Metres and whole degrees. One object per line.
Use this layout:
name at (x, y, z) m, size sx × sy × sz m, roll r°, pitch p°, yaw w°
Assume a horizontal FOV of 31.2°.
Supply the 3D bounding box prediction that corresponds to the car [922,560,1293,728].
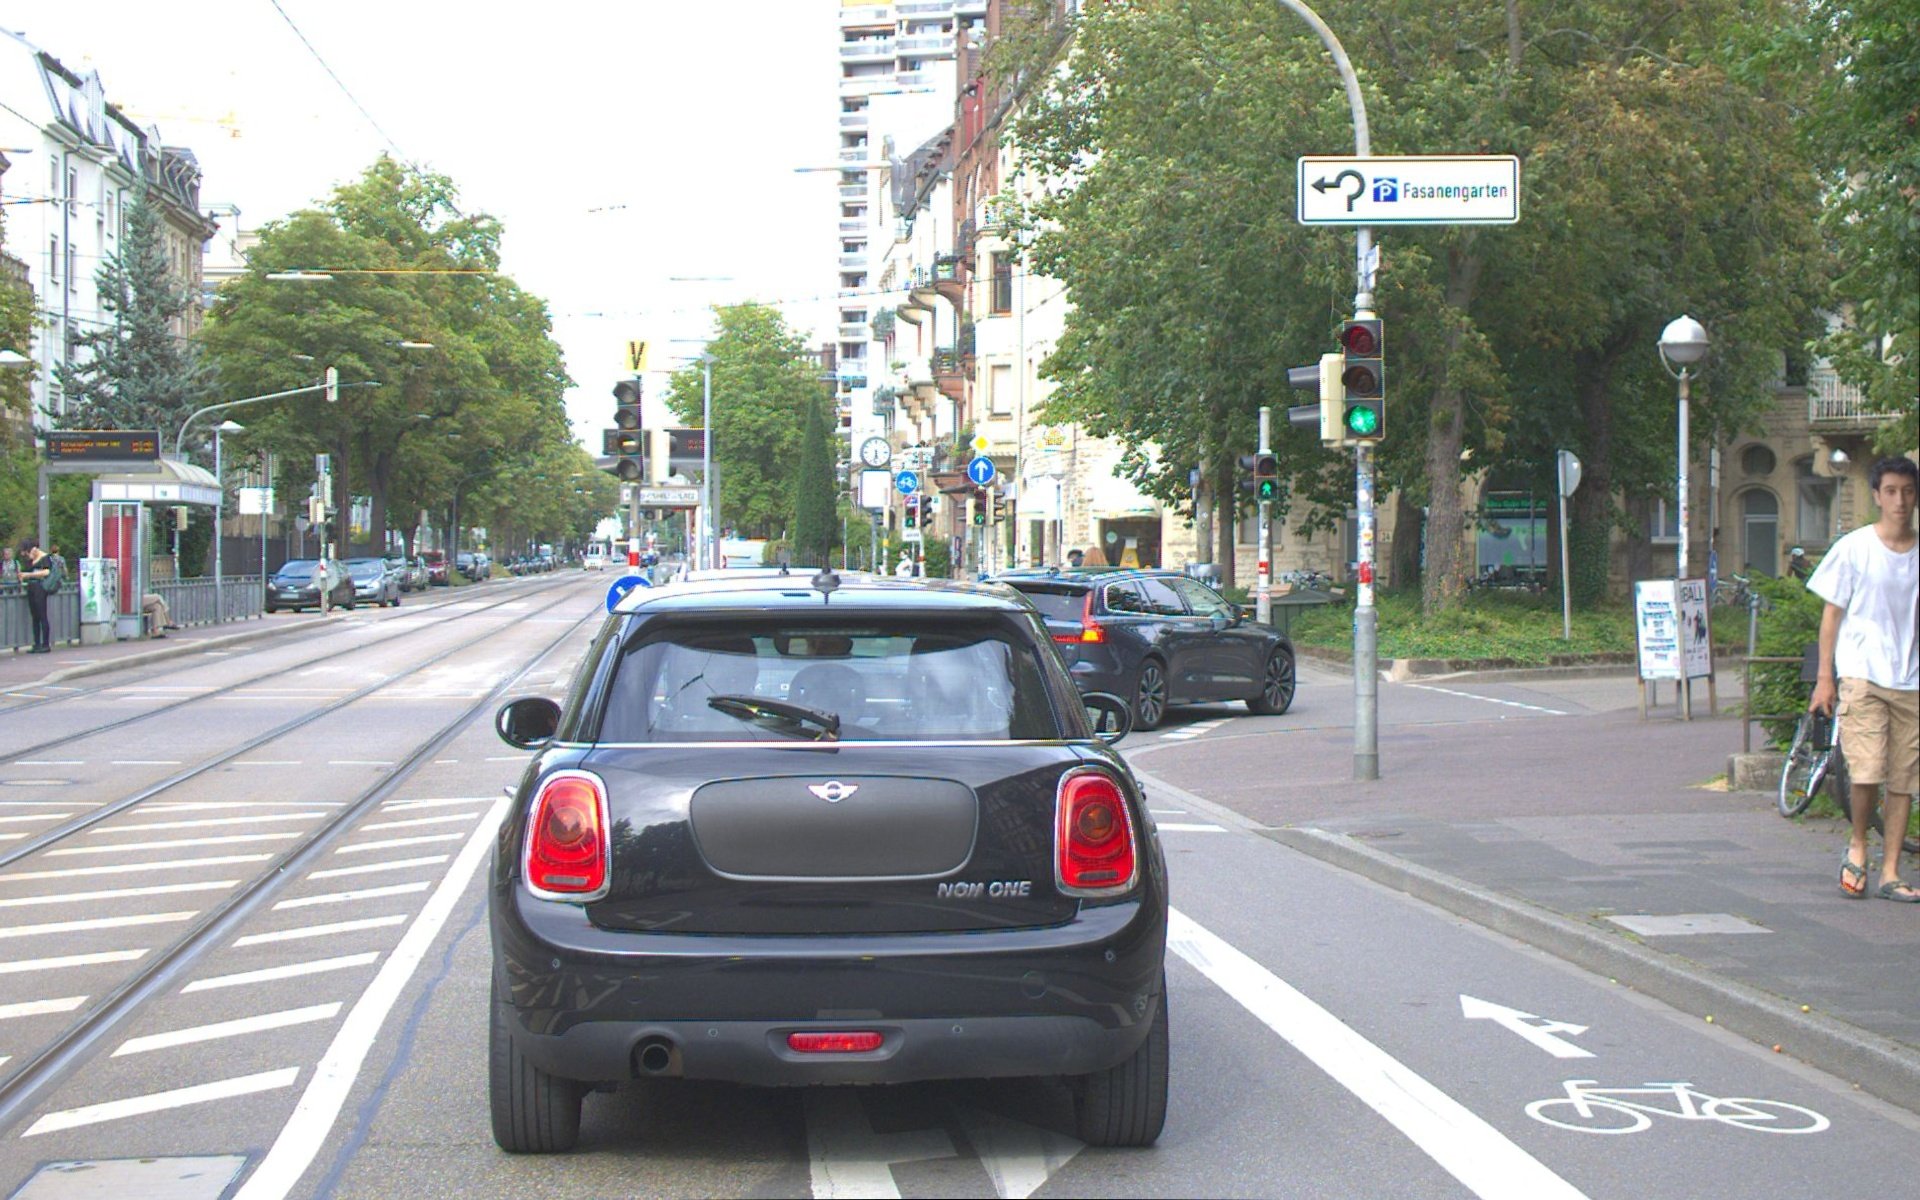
car at (1.461, 0.355, 32.092) m, size 1.754 × 1.436 × 4.473 m, roll 1°, pitch 1°, yaw 27°

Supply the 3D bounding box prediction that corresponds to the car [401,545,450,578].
car at (-25.659, -1.856, 165.226) m, size 1.993 × 1.546 × 4.001 m, roll 0°, pitch 1°, yaw -4°

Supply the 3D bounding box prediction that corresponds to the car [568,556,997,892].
car at (-0.825, 0.533, 17.492) m, size 1.927 × 1.504 × 4.000 m, roll 0°, pitch 1°, yaw -1°

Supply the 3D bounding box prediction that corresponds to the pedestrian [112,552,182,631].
pedestrian at (-13.393, -0.139, 56.632) m, size 1.058 × 1.289 × 0.986 m, roll 0°, pitch 1°, yaw -10°

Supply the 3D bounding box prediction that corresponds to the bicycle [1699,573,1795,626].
bicycle at (16.658, -0.010, 72.767) m, size 1.887 × 1.124 × 0.599 m, roll 0°, pitch 1°, yaw -13°

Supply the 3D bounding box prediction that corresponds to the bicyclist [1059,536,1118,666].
bicyclist at (1.550, -0.001, 41.515) m, size 0.594 × 1.545 × 1.014 m, roll 0°, pitch 1°, yaw -4°

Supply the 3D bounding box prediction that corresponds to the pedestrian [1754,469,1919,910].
pedestrian at (3.730, 0.346, 14.077) m, size 0.730 × 1.748 × 0.950 m, roll 0°, pitch 1°, yaw 0°

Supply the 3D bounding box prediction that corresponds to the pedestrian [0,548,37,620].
pedestrian at (-22.343, -0.379, 81.501) m, size 0.832 × 1.697 × 0.733 m, roll 0°, pitch 1°, yaw -10°

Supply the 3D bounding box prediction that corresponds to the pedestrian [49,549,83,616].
pedestrian at (-22.814, -0.455, 87.742) m, size 0.694 × 1.713 × 0.758 m, roll 0°, pitch 1°, yaw -3°

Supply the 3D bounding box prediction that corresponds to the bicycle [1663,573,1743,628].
bicycle at (16.005, 0.005, 74.022) m, size 1.888 × 1.124 × 0.533 m, roll -2°, pitch 2°, yaw -35°

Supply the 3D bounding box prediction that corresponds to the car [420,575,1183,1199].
car at (-0.399, 0.665, 9.917) m, size 1.751 × 1.436 × 4.000 m, roll 0°, pitch 1°, yaw -1°

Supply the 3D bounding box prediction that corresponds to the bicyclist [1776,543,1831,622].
bicyclist at (15.704, -0.332, 63.986) m, size 0.614 × 1.468 × 0.915 m, roll 0°, pitch 1°, yaw -17°

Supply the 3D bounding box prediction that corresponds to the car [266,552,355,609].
car at (-17.340, -0.543, 91.907) m, size 1.751 × 1.436 × 4.001 m, roll 2°, pitch 1°, yaw -3°

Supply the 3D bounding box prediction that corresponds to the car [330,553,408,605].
car at (-17.357, -0.635, 101.070) m, size 1.751 × 1.436 × 4.001 m, roll 2°, pitch 1°, yaw -3°

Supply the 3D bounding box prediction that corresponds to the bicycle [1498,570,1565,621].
bicycle at (12.900, -0.111, 77.511) m, size 0.667 × 1.124 × 1.889 m, roll 1°, pitch 1°, yaw 38°

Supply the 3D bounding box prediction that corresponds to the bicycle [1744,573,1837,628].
bicycle at (17.339, 0.011, 71.748) m, size 1.887 × 1.124 × 0.583 m, roll 0°, pitch 1°, yaw -21°

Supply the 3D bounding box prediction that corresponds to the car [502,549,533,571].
car at (-32.304, -2.906, 250.879) m, size 1.993 × 1.546 × 4.001 m, roll 0°, pitch 1°, yaw -4°

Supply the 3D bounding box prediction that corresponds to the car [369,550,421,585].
car at (-22.771, -1.318, 138.643) m, size 1.766 × 1.390 × 4.001 m, roll 0°, pitch 1°, yaw -5°

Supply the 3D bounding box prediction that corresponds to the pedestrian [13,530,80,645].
pedestrian at (-12.930, -0.179, 48.667) m, size 0.851 × 1.615 × 0.843 m, roll 0°, pitch 1°, yaw -10°

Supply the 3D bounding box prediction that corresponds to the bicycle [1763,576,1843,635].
bicycle at (15.694, 0.093, 64.058) m, size 0.614 × 1.073 × 1.821 m, roll 0°, pitch 1°, yaw -17°

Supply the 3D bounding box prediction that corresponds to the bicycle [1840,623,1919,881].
bicycle at (4.417, 0.672, 15.185) m, size 0.508 × 1.085 × 1.550 m, roll -3°, pitch 1°, yaw -4°

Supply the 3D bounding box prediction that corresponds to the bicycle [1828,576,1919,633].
bicycle at (18.491, 0.093, 69.265) m, size 1.887 × 1.124 × 0.533 m, roll 0°, pitch 1°, yaw -8°

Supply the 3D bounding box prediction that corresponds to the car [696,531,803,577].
car at (-10.514, -2.311, 171.874) m, size 5.026 × 2.265 × 2.395 m, roll -1°, pitch 1°, yaw -45°

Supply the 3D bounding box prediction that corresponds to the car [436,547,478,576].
car at (-27.535, -2.104, 188.124) m, size 1.993 × 1.546 × 4.001 m, roll 0°, pitch 1°, yaw -4°

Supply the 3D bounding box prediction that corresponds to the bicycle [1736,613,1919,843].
bicycle at (4.628, 0.639, 17.929) m, size 0.671 × 1.102 × 1.672 m, roll 0°, pitch 1°, yaw -4°

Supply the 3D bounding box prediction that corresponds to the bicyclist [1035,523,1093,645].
bicyclist at (1.347, -0.217, 44.716) m, size 0.684 × 1.558 × 0.998 m, roll 0°, pitch 1°, yaw -2°

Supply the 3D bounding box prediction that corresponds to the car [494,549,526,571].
car at (-31.473, -2.797, 240.442) m, size 1.993 × 1.546 × 4.001 m, roll 0°, pitch 1°, yaw -4°

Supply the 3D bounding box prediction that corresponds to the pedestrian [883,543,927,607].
pedestrian at (-1.474, -0.667, 91.923) m, size 0.732 × 1.668 × 0.833 m, roll -2°, pitch 2°, yaw 42°
